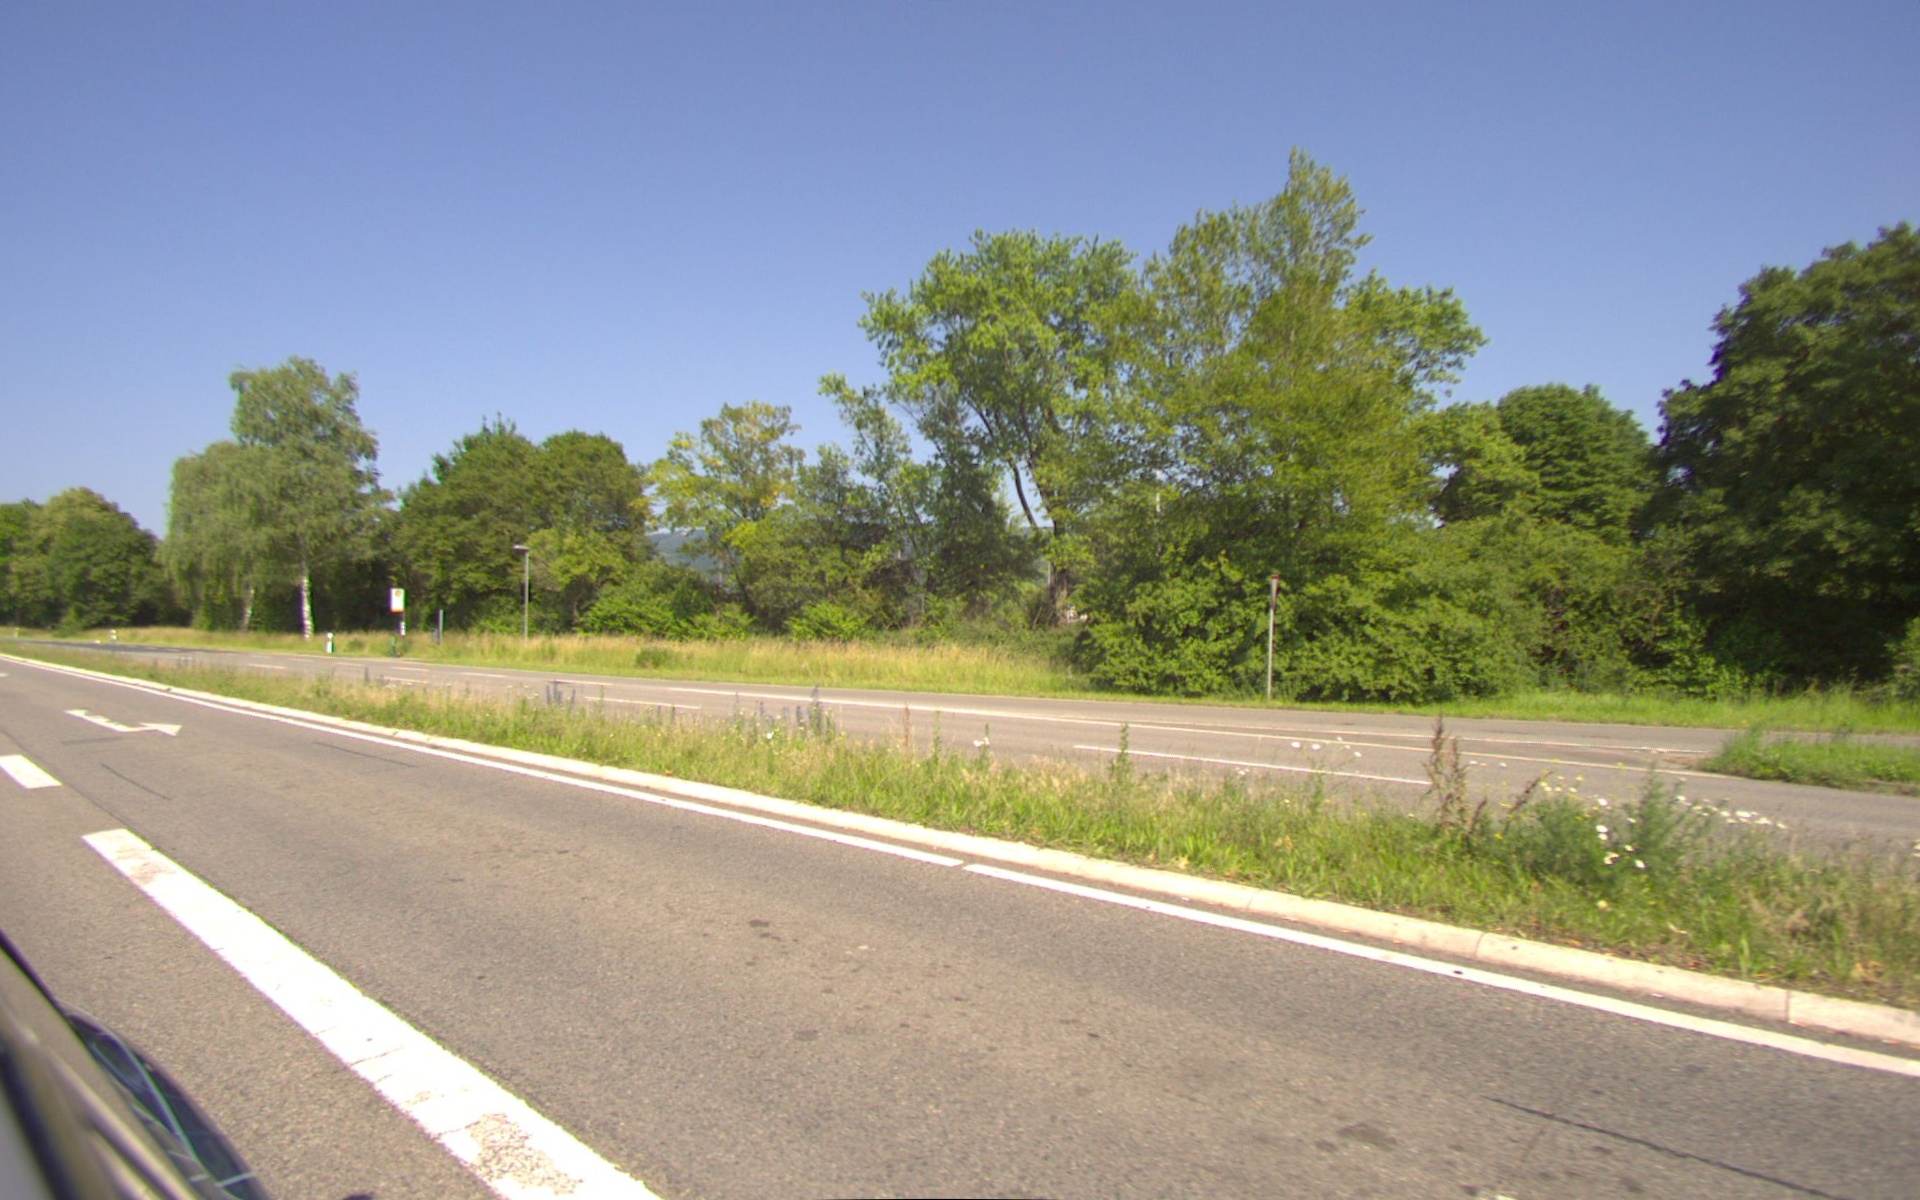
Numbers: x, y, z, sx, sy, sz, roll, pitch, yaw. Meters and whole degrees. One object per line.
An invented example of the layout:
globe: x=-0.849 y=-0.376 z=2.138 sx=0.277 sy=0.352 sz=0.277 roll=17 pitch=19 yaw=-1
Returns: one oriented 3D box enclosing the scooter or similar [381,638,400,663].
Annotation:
scooter or similar: x=-27.804 y=2.462 z=49.401 sx=1.340 sy=1.195 sz=0.364 roll=-1 pitch=-3 yaw=42
